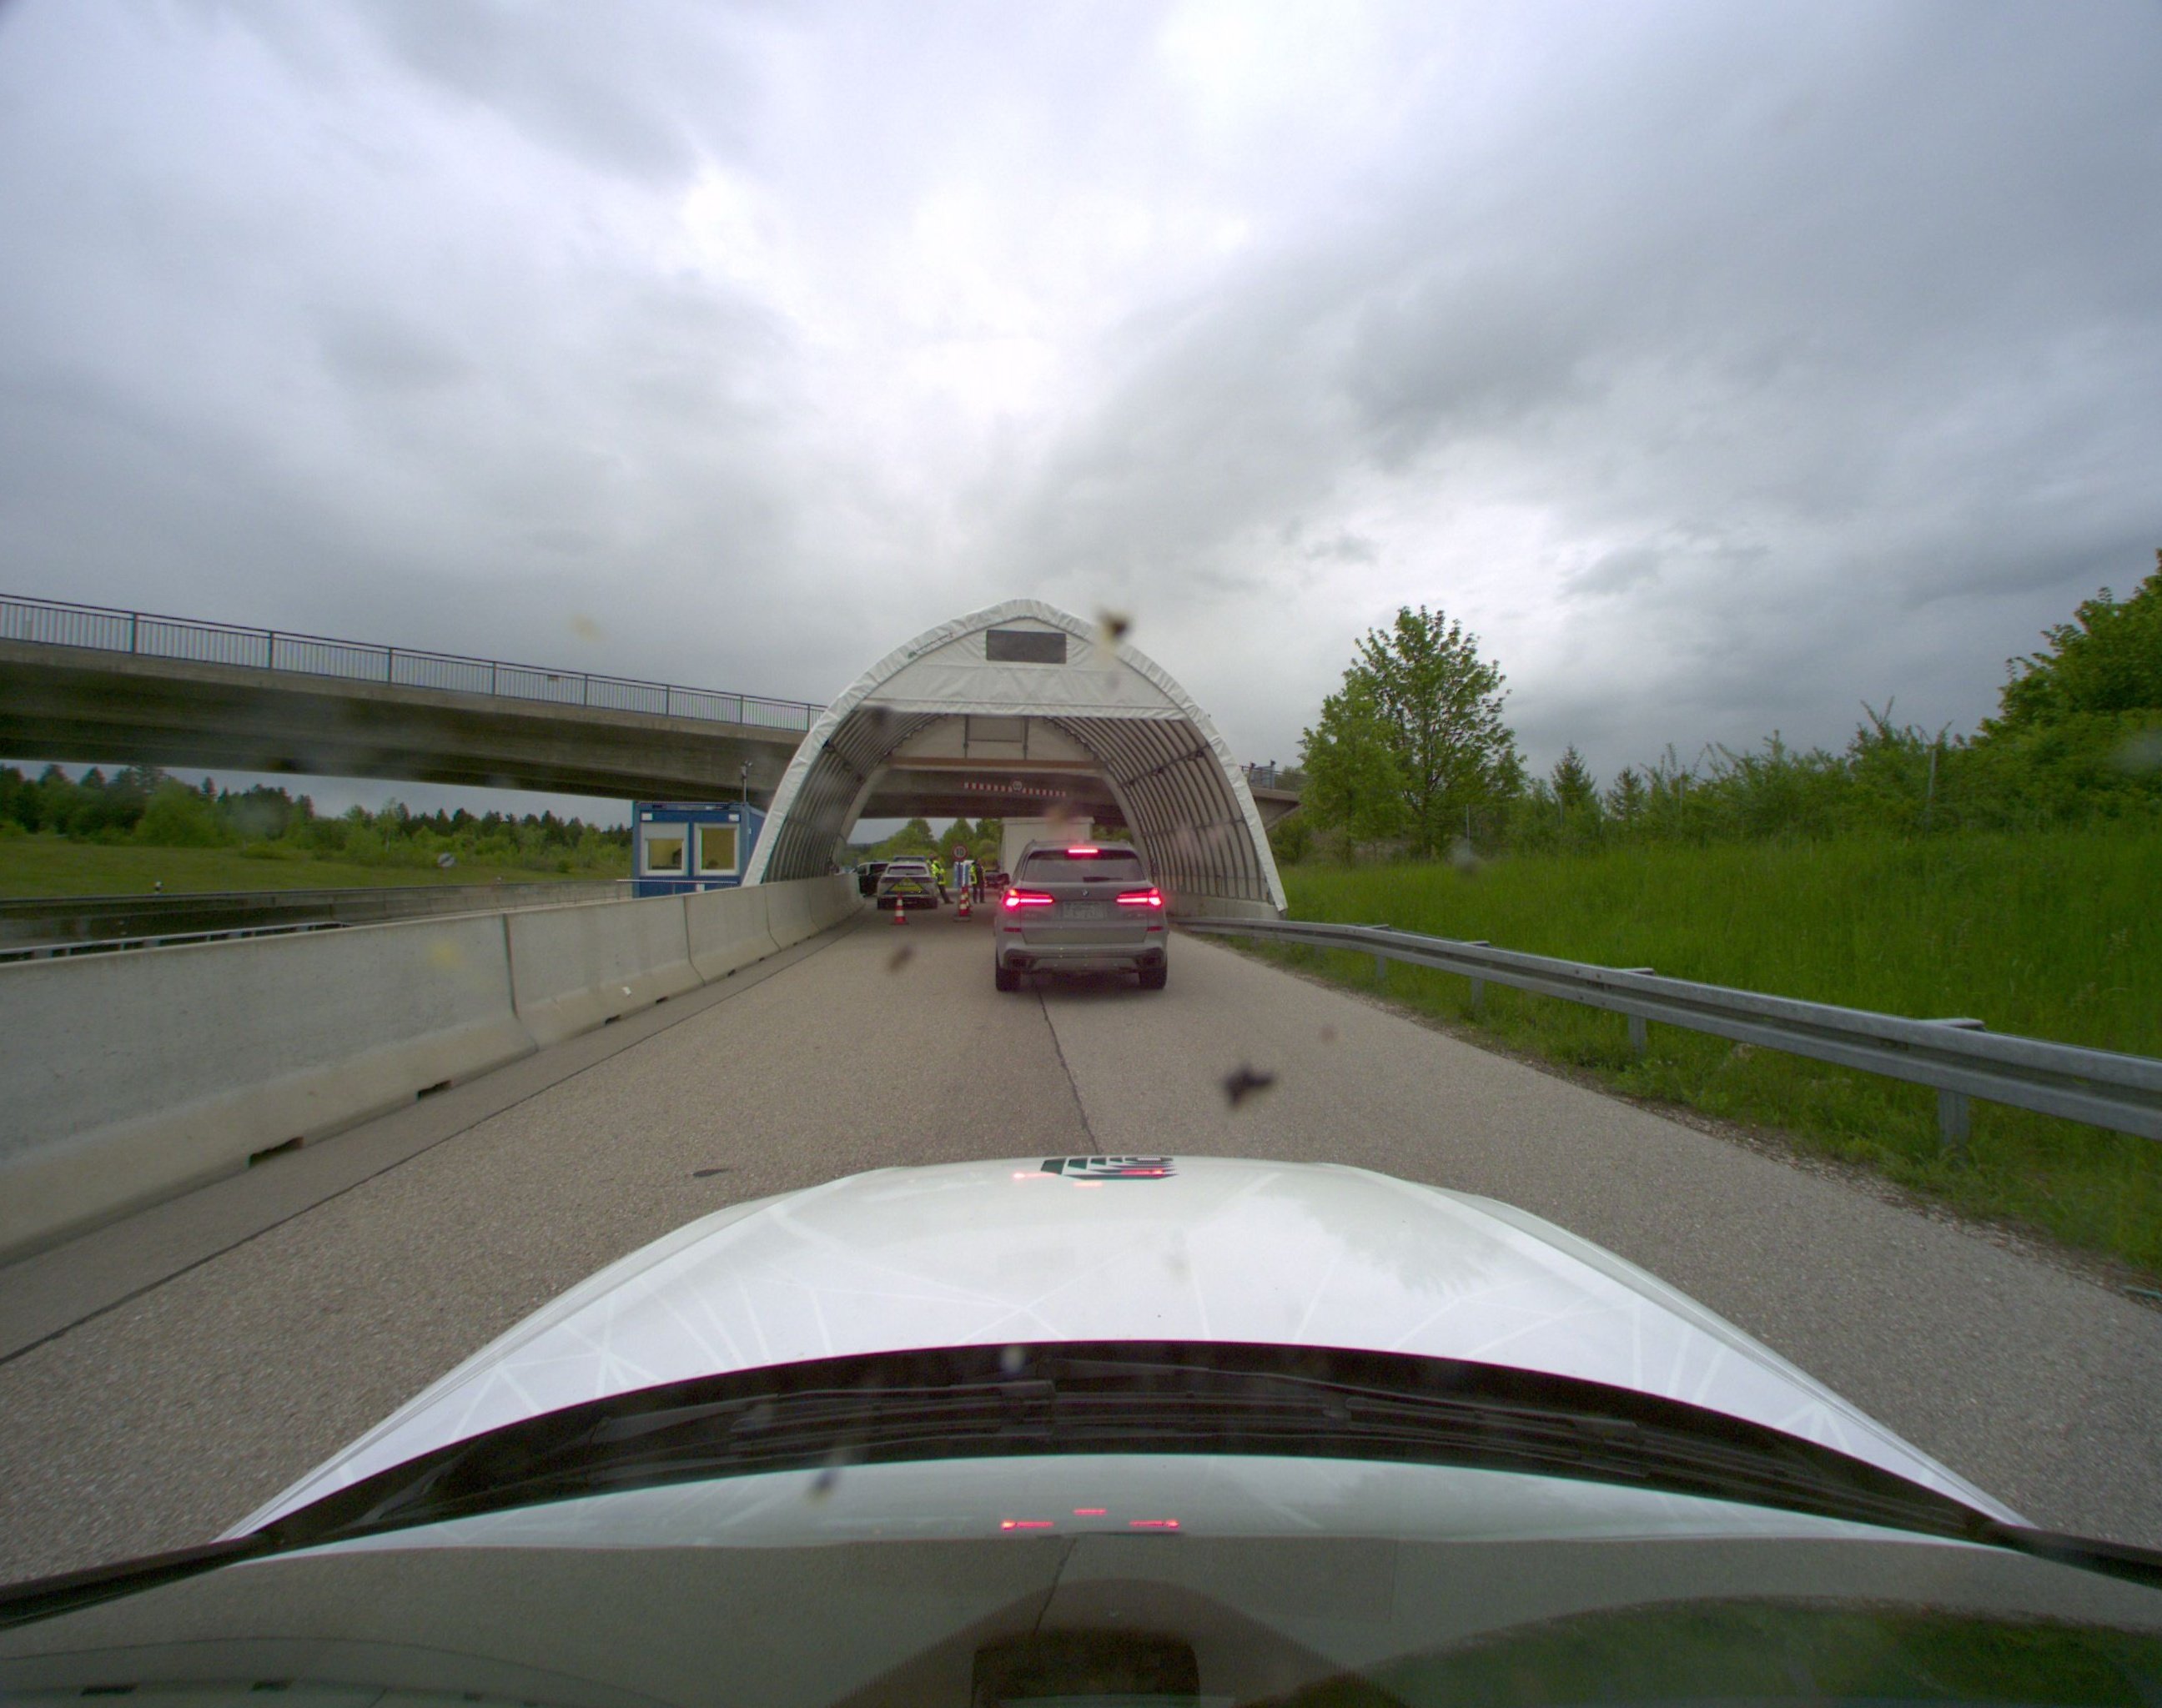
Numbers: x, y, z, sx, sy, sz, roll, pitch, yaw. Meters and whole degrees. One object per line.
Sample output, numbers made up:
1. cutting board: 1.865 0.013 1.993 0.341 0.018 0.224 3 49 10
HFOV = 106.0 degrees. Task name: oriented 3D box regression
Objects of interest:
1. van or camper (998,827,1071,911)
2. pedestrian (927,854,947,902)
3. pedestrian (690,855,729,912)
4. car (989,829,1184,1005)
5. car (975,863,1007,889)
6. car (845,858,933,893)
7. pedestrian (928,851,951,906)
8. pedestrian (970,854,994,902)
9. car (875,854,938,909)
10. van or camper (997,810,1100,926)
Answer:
1. van or camper: -1.689 0.491 27.657 2.102 2.519 5.537 -1 -1 -7
2. pedestrian: -5.334 0.882 30.256 0.607 1.754 0.665 -1 -1 -4
3. pedestrian: -9.245 0.732 20.294 0.606 1.373 0.629 -2 -1 10
4. car: -0.152 0.665 10.463 1.992 1.765 3.990 -1 -1 -7
5. car: -6.531 1.575 58.982 1.994 1.722 3.882 -1 -1 -11
6. car: -11.597 1.291 49.357 4.777 2.014 1.845 -1 -1 9
7. pedestrian: -5.079 0.867 29.188 0.750 1.919 0.759 -1 -1 -13
8. pedestrian: -3.607 0.868 29.575 0.780 1.722 0.754 -1 -1 -10
9. car: -5.776 0.872 27.018 1.879 1.647 3.983 -1 -1 -12
10. van or camper: -1.055 0.352 21.563 2.227 2.552 6.595 -1 -1 -6
